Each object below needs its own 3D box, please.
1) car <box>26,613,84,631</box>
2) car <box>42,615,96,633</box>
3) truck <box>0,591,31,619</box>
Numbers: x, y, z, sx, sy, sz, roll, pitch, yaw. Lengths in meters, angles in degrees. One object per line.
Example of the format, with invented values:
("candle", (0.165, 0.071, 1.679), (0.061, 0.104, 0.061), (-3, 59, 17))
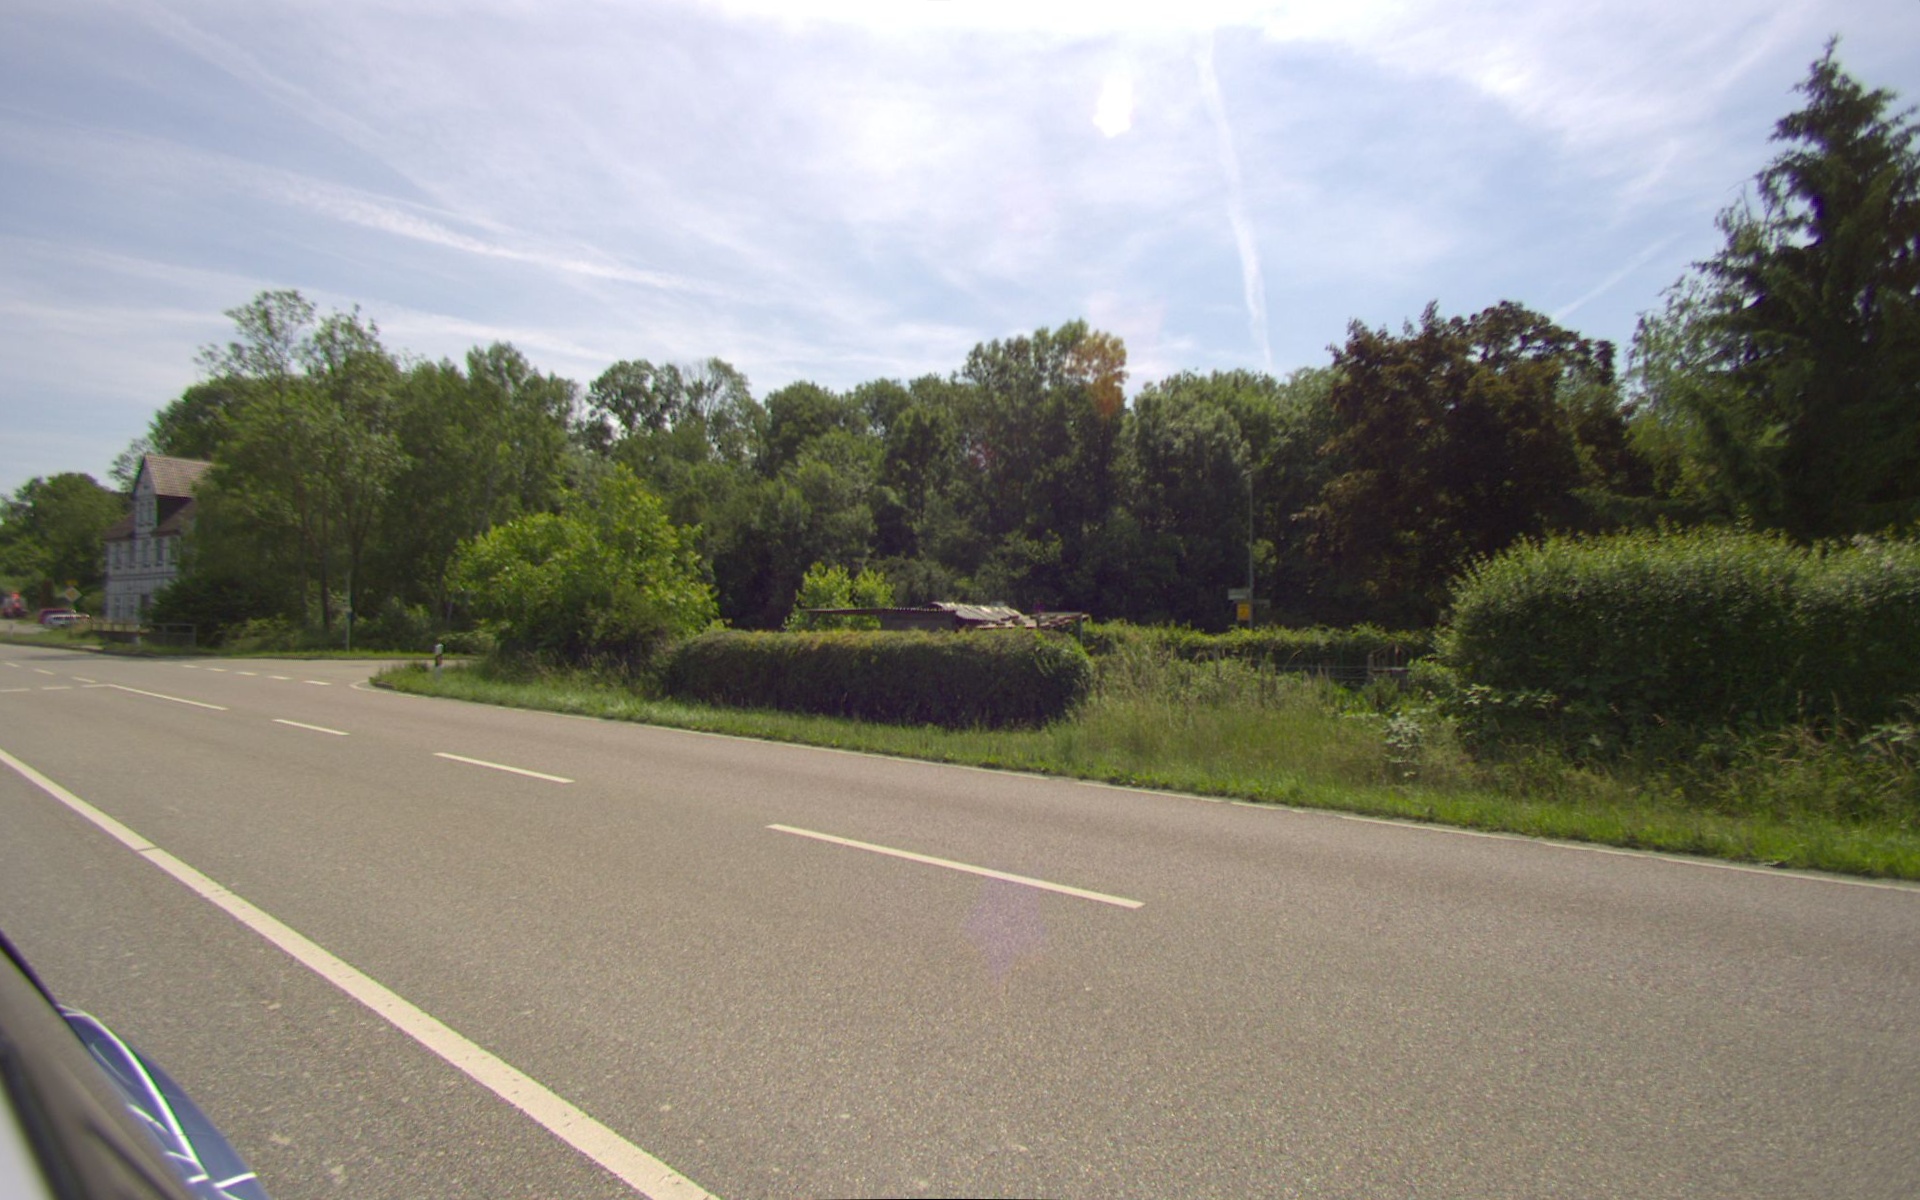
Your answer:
("car", (-87.131, 2.063, 97.454), (1.832, 1.631, 3.986), (1, 0, 40))
("car", (-79.779, 2.144, 90.634), (1.606, 1.476, 3.349), (0, 0, 33))
("truck", (-103.477, 0.527, 110.650), (6.769, 2.986, 2.006), (1, 1, 41))
